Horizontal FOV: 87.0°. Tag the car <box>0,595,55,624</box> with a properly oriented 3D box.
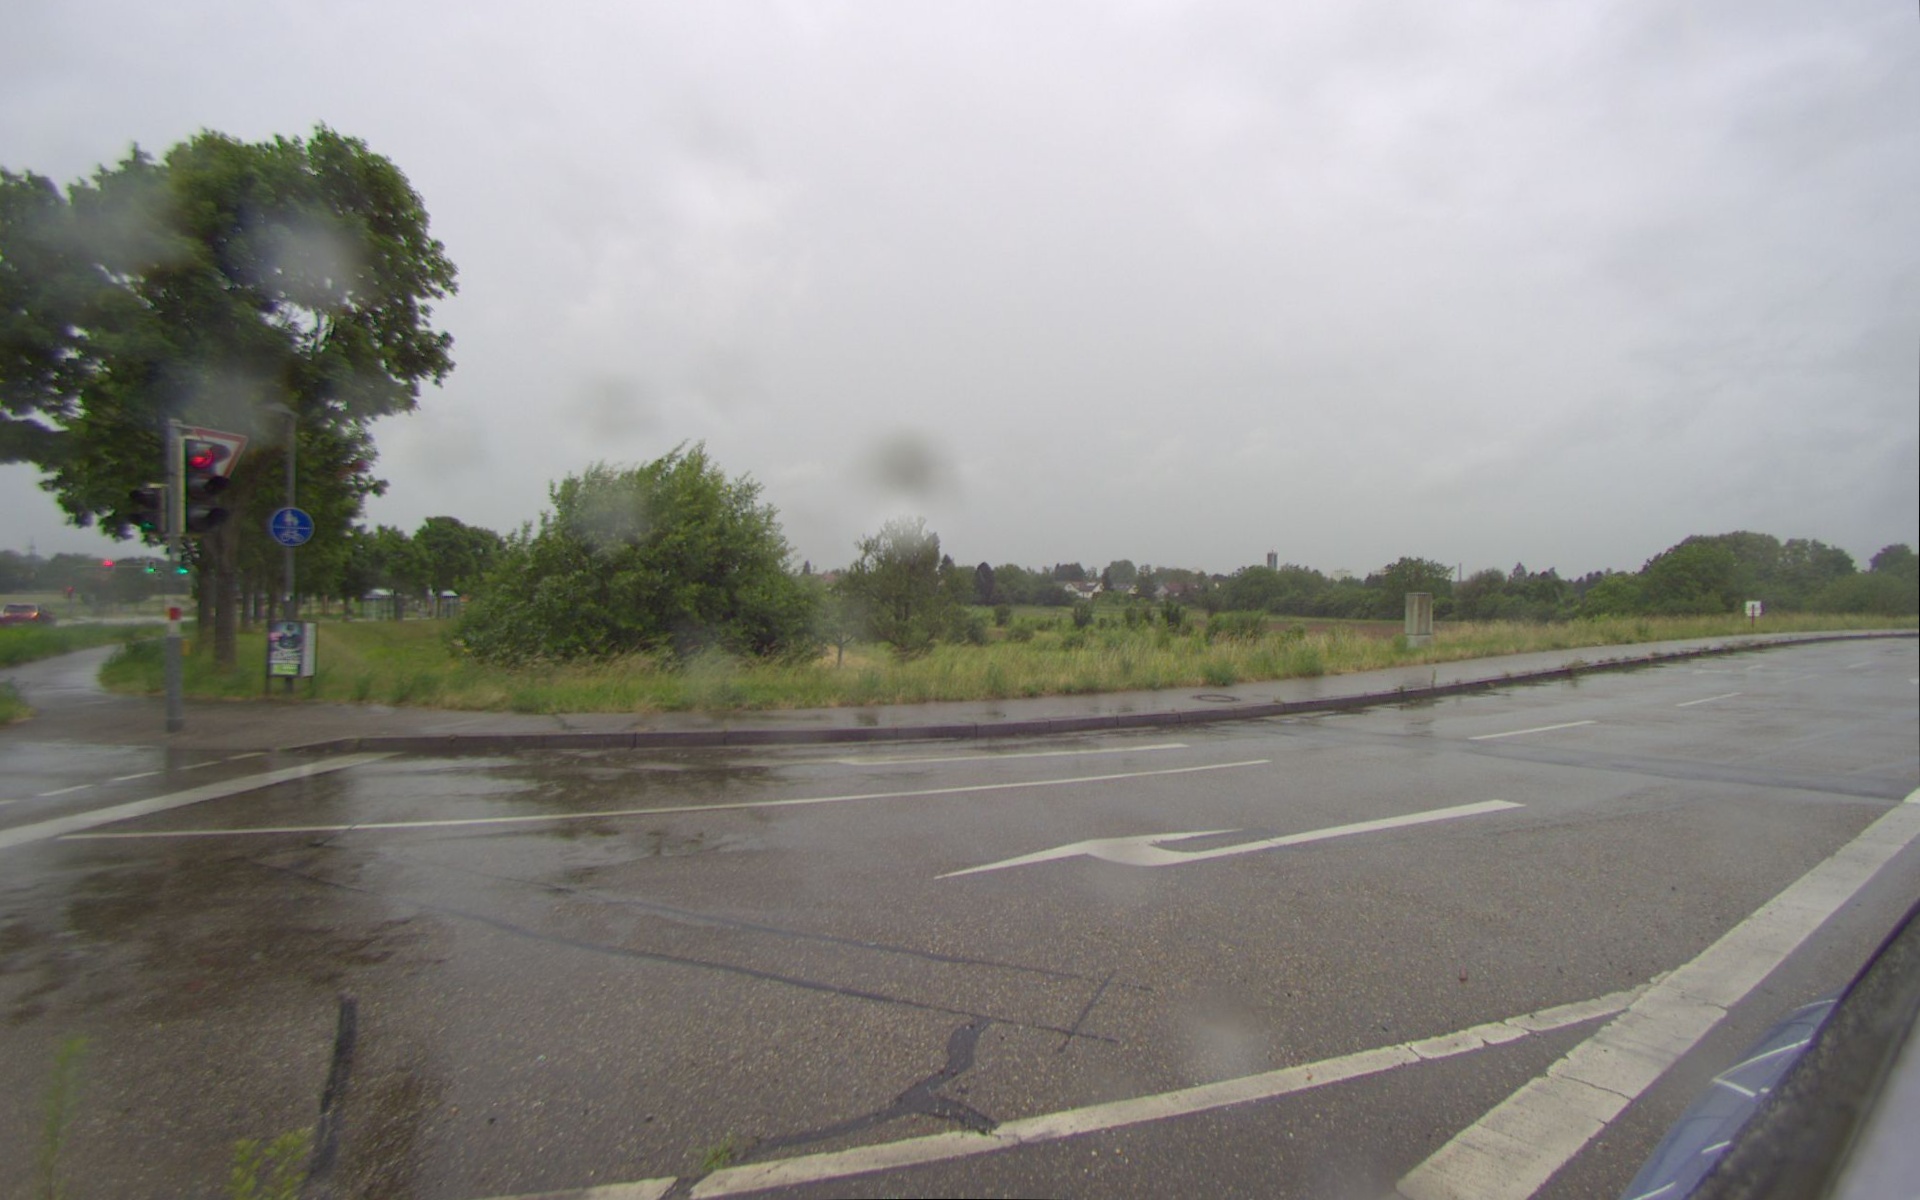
[{"bbox_3d":[-48.427,0.450,52.260,1.843,1.371,4.055,0,1,-32],"label":"car"}]
